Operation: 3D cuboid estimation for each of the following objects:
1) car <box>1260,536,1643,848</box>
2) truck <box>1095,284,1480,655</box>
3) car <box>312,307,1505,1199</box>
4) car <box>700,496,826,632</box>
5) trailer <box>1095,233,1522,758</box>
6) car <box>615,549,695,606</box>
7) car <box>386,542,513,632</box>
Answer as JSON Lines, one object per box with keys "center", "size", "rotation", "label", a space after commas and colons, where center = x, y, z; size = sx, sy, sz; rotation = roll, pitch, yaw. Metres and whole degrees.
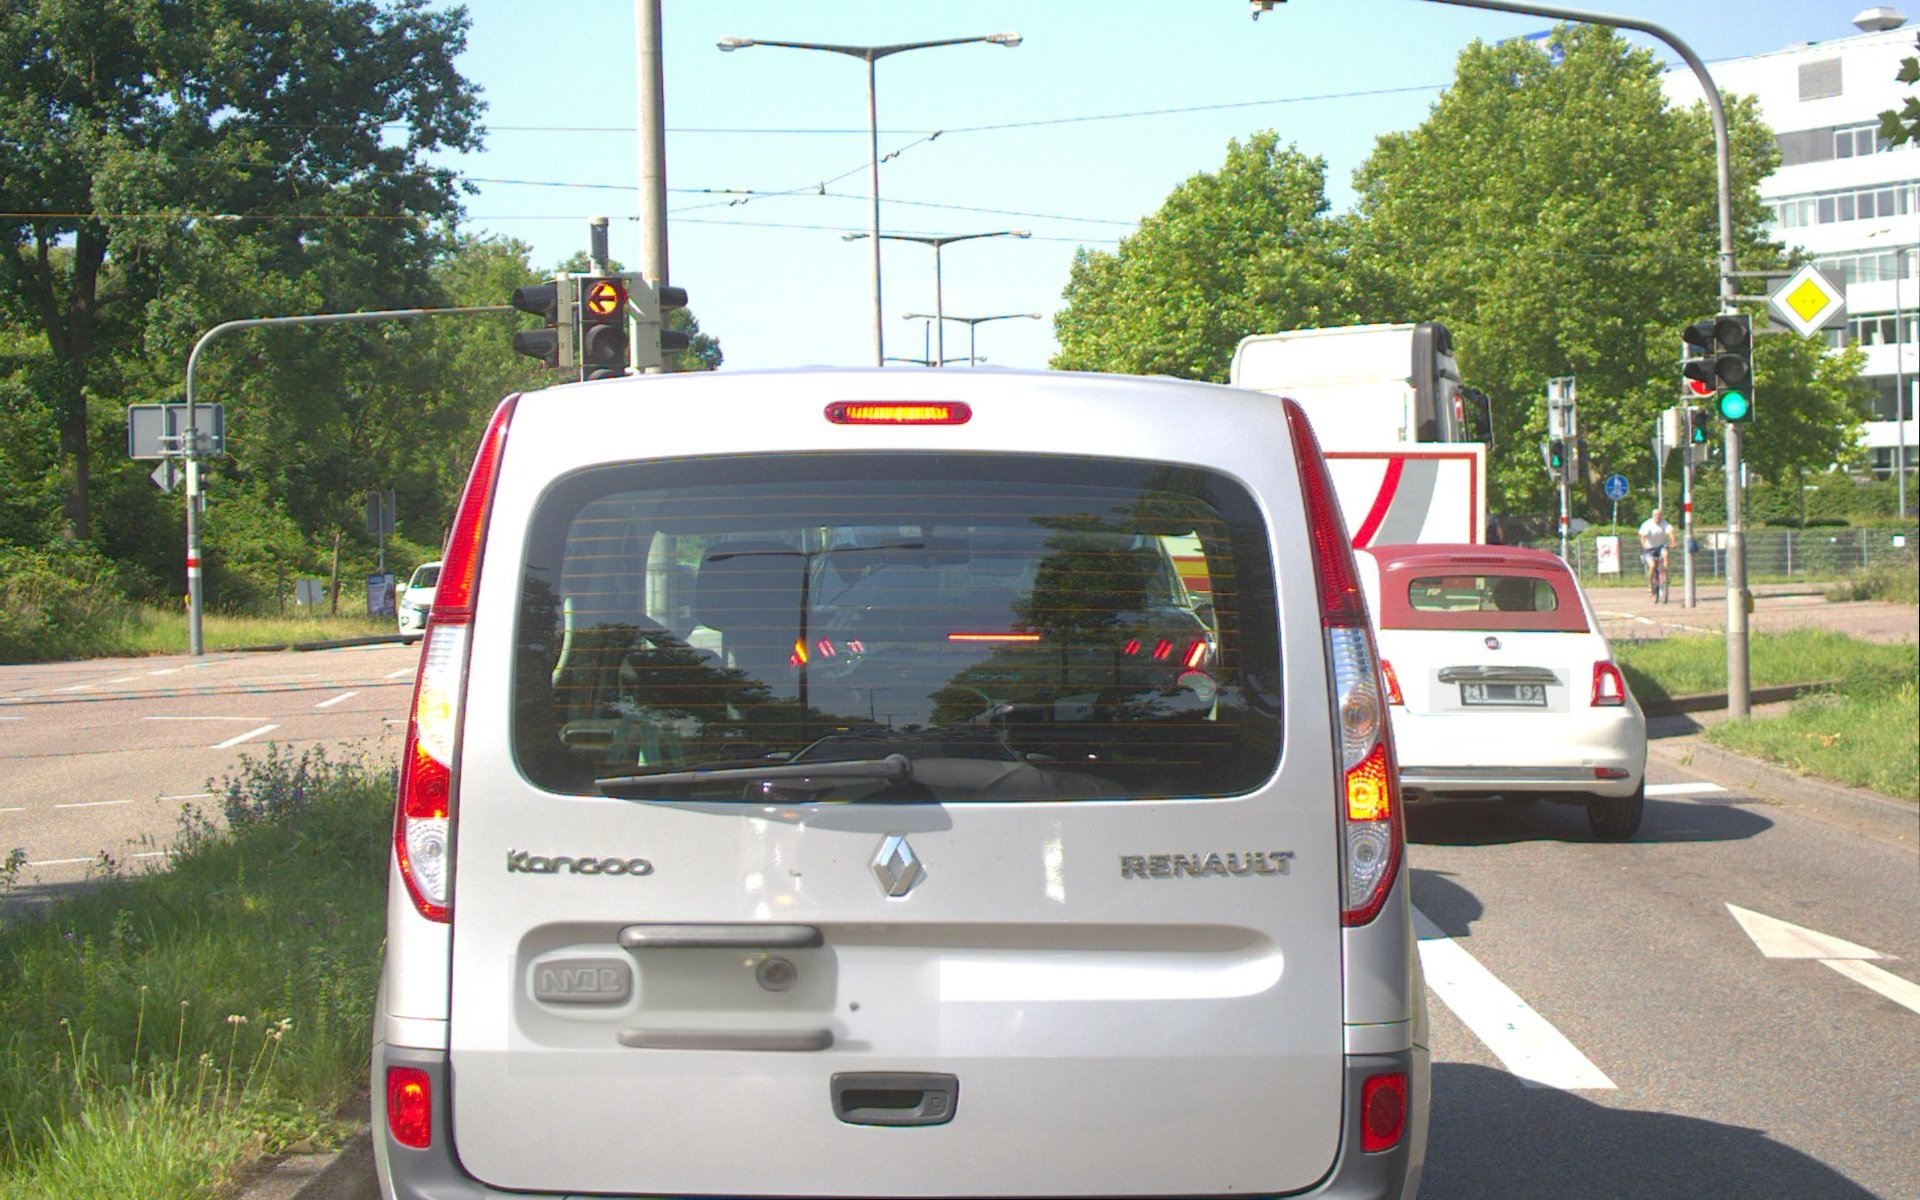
{"center": [2.553, 0.435, 18.487], "size": [1.538, 1.509, 3.260], "rotation": [1, 1, -1], "label": "car"}
{"center": [3.740, -1.323, 37.495], "size": [2.912, 3.630, 7.184], "rotation": [1, 1, 16], "label": "truck"}
{"center": [-0.103, 0.466, 7.205], "size": [1.786, 1.831, 4.000], "rotation": [1, 1, -1], "label": "car"}
{"center": [-3.943, -0.731, 69.595], "size": [1.994, 2.598, 5.133], "rotation": [-1, 0, 2], "label": "car"}
{"center": [2.842, -0.791, 30.219], "size": [2.900, 3.610, 12.684], "rotation": [1, 1, 4], "label": "trailer"}
{"center": [-9.211, -0.680, 104.130], "size": [1.911, 1.636, 3.737], "rotation": [-1, 0, 2], "label": "car"}
{"center": [-9.200, -0.265, 62.217], "size": [1.699, 1.503, 4.000], "rotation": [-1, 2, -1], "label": "car"}
